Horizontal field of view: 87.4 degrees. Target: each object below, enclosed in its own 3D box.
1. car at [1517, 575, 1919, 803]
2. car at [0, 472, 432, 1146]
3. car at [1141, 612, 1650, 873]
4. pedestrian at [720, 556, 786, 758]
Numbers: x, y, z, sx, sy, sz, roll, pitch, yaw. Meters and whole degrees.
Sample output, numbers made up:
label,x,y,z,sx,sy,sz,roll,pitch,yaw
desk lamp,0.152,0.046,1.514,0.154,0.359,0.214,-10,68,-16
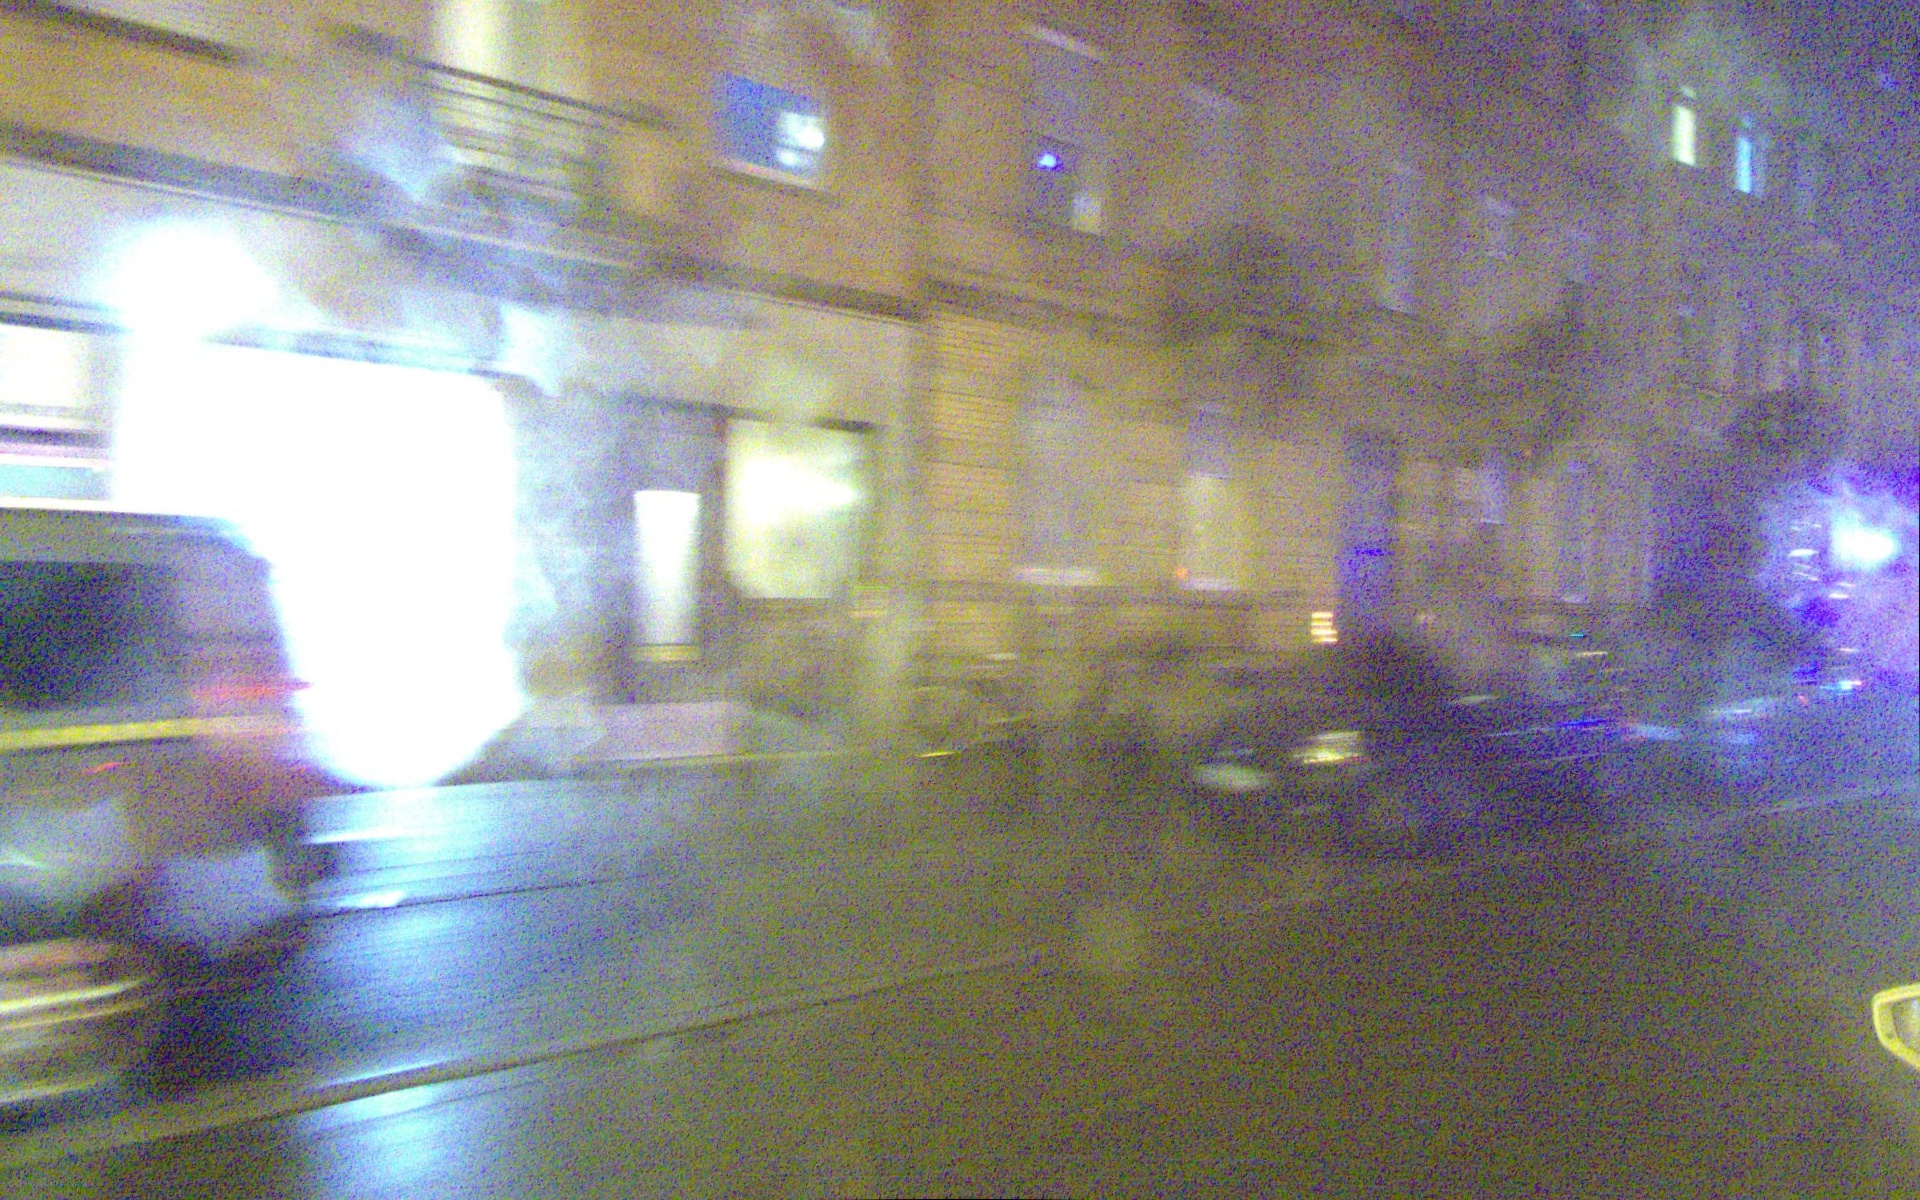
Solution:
label,x,y,z,sx,sy,sz,roll,pitch,yaw
car,8.215,0.765,10.330,5.144,1.854,1.986,1,0,-30
car,-4.257,0.552,2.912,4.771,1.854,1.894,1,0,-30
car,3.264,0.859,7.389,3.675,1.479,1.562,1,0,-30
pedestrian,-1.933,0.520,9.365,0.454,1.812,0.592,0,-1,-26
